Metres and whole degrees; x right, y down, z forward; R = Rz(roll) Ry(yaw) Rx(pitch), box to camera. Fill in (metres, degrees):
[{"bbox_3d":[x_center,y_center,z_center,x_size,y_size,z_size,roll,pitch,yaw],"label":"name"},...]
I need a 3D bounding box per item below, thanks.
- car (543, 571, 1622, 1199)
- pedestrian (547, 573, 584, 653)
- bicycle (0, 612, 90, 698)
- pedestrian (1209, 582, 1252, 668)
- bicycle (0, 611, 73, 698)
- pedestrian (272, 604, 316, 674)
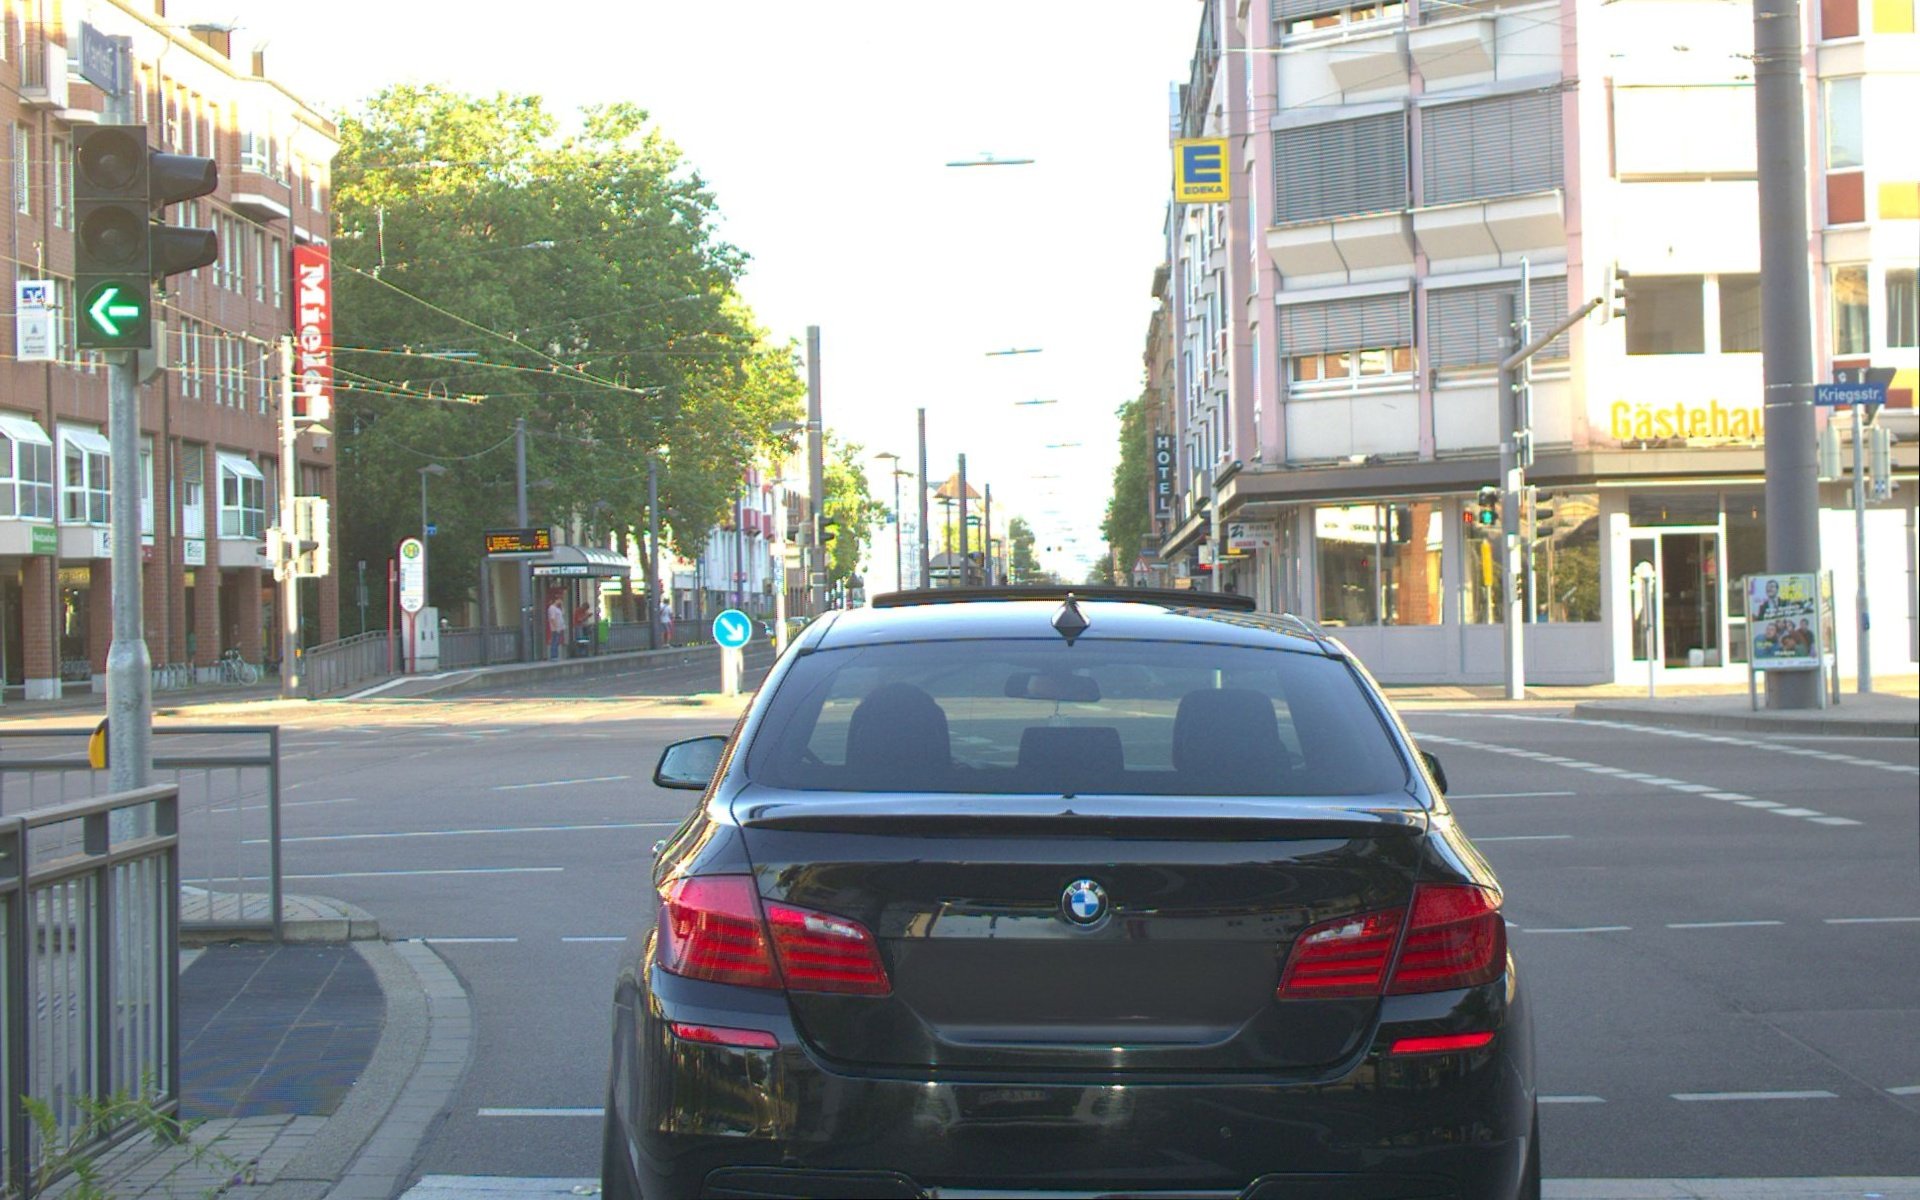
[{"bbox_3d":[0.146,0.708,8.056,1.841,1.490,4.292,1,0,-2],"label":"car"},{"bbox_3d":[-10.051,0.338,87.610,0.808,2.007,0.678,-1,0,-1],"label":"pedestrian"},{"bbox_3d":[-19.881,1.156,71.391,3.297,1.720,1.069,-1,0,1],"label":"bicycle"},{"bbox_3d":[5.022,0.450,63.838,0.705,1.543,0.907,0,3,-2],"label":"pedestrian"},{"bbox_3d":[-19.931,1.130,70.223,3.297,1.720,1.069,-1,0,2],"label":"bicycle"},{"bbox_3d":[-19.384,1.139,100.063,1.085,2.007,1.084,-1,0,-2],"label":"pedestrian"}]
